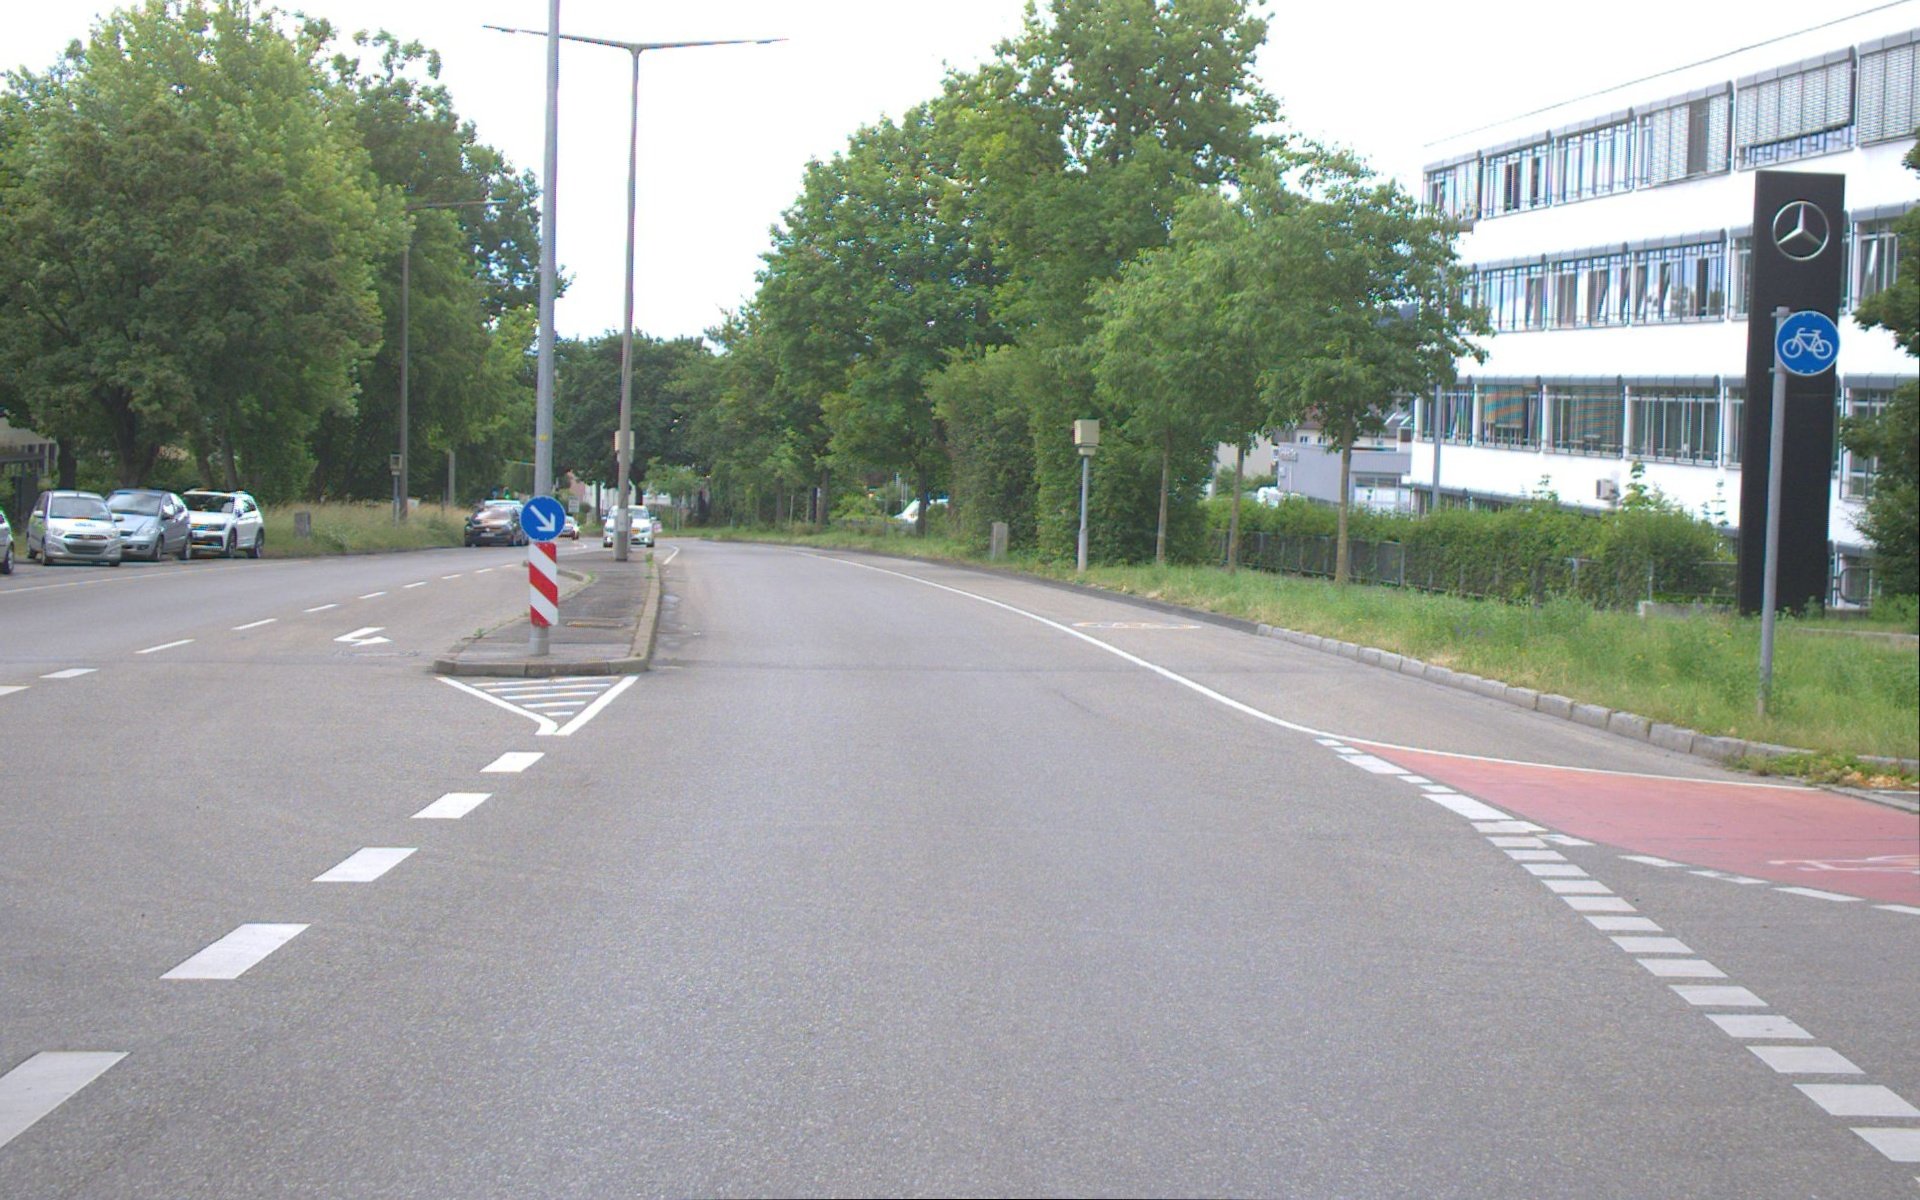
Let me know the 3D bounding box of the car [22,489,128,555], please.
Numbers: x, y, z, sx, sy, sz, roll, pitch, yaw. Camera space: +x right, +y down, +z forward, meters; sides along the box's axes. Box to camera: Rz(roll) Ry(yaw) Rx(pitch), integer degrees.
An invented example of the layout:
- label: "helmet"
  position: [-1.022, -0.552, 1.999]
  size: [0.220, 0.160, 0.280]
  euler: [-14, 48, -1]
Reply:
- label: "car"
  position: [-18.975, -1.682, 73.627]
  size: [1.672, 1.300, 4.001]
  euler: [1, 2, -22]

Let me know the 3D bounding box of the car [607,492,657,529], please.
- label: "car"
  position: [-11.989, -3.288, 125.693]
  size: [1.611, 1.300, 4.001]
  euler: [2, 2, -3]

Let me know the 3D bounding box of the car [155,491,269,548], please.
- label: "car"
  position: [-18.135, -1.958, 83.498]
  size: [1.673, 1.300, 4.000]
  euler: [2, 2, 3]

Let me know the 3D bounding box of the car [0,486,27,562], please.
- label: "car"
  position: [-18.661, -1.447, 64.296]
  size: [1.672, 1.398, 4.001]
  euler: [2, 2, -6]

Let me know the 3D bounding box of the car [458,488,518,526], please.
- label: "car"
  position: [-16.892, -3.335, 123.096]
  size: [1.771, 1.300, 4.001]
  euler: [2, 2, -3]

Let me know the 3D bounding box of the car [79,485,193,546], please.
- label: "car"
  position: [-18.743, -1.936, 78.370]
  size: [1.672, 1.300, 4.001]
  euler: [2, 2, -1]
